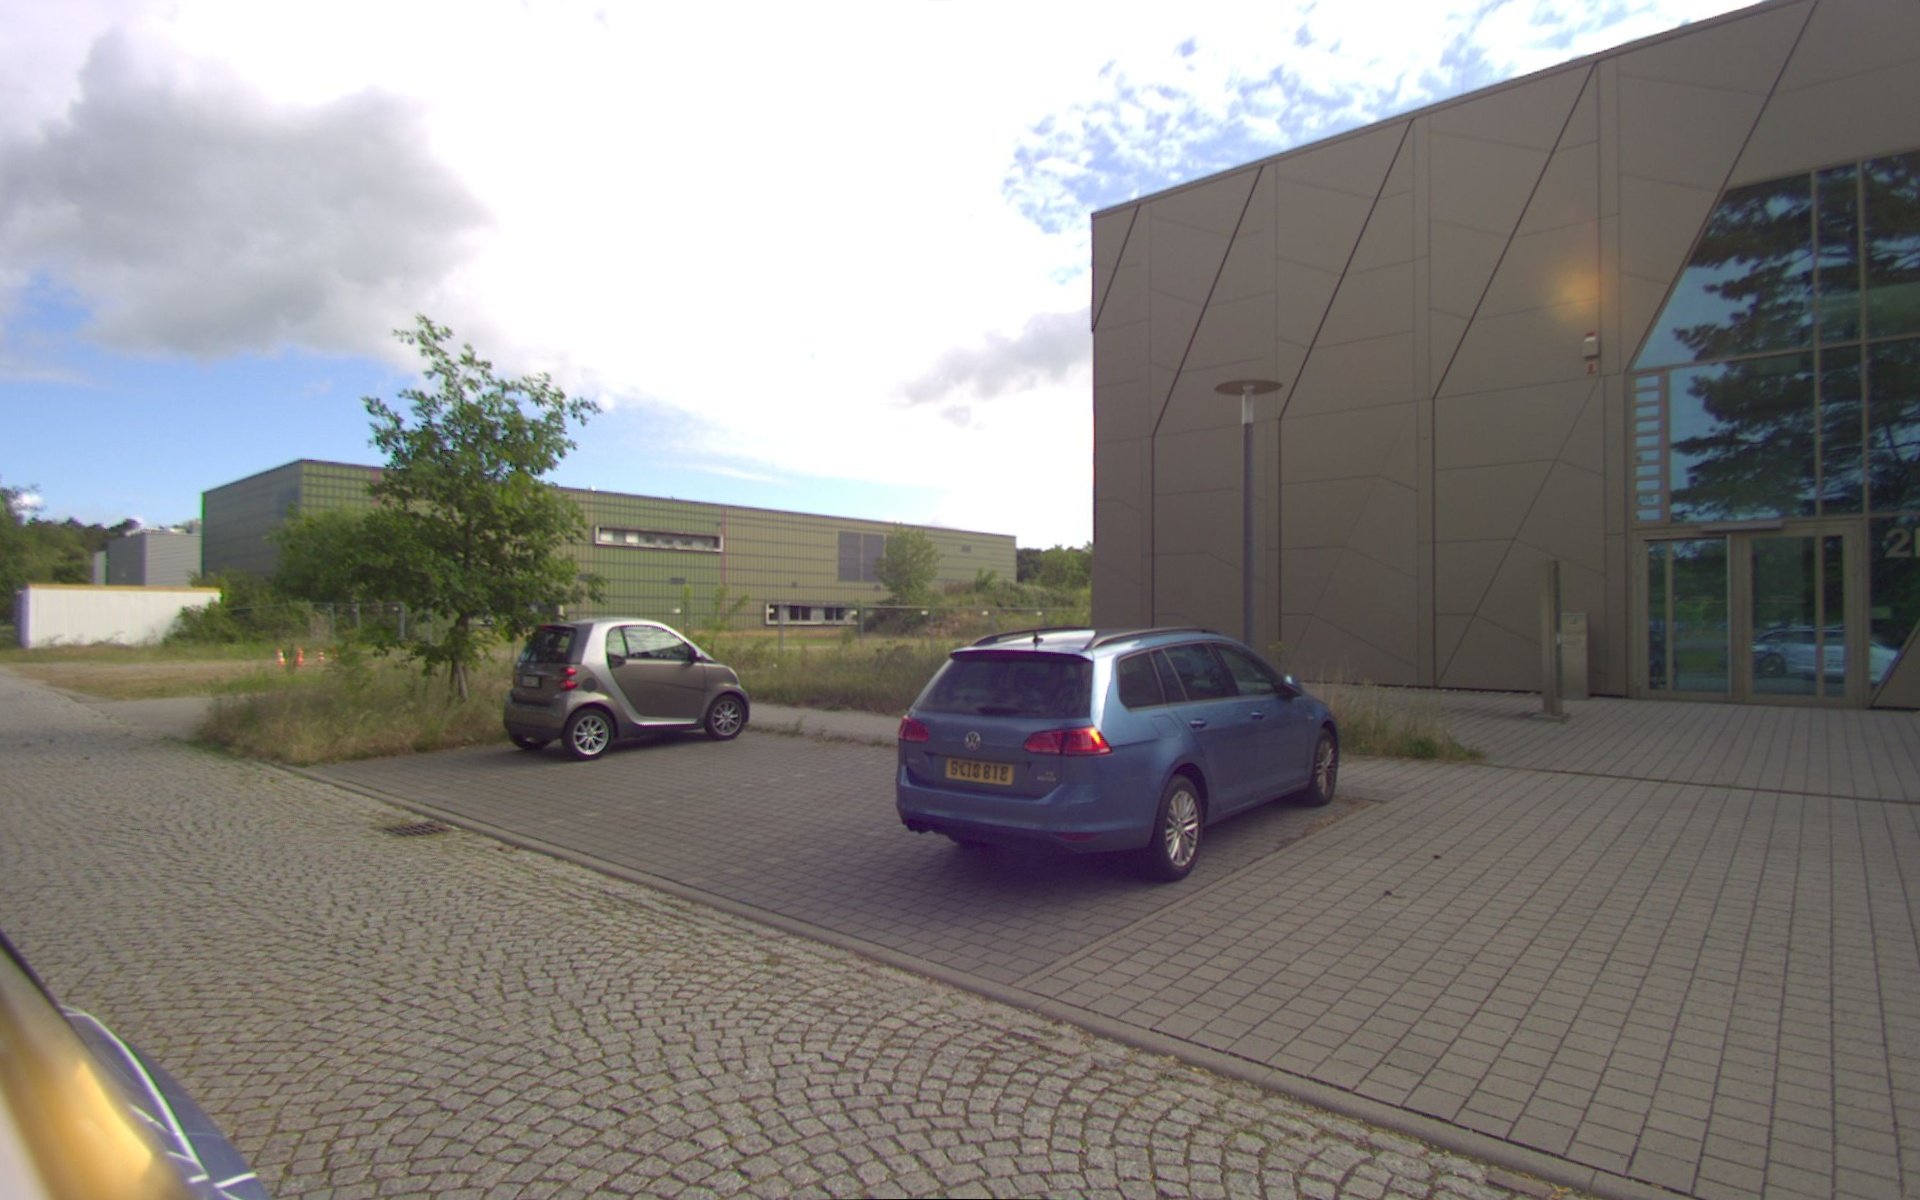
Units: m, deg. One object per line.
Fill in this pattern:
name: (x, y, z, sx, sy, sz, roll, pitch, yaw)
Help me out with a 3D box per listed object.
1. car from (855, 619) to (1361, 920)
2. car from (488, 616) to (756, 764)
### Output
car: (1.357, 0.904, 7.353, 1.771, 1.439, 4.264, -1, -1, 38)
car: (-4.028, 0.987, 12.253, 1.609, 1.523, 2.627, -1, -1, 40)
